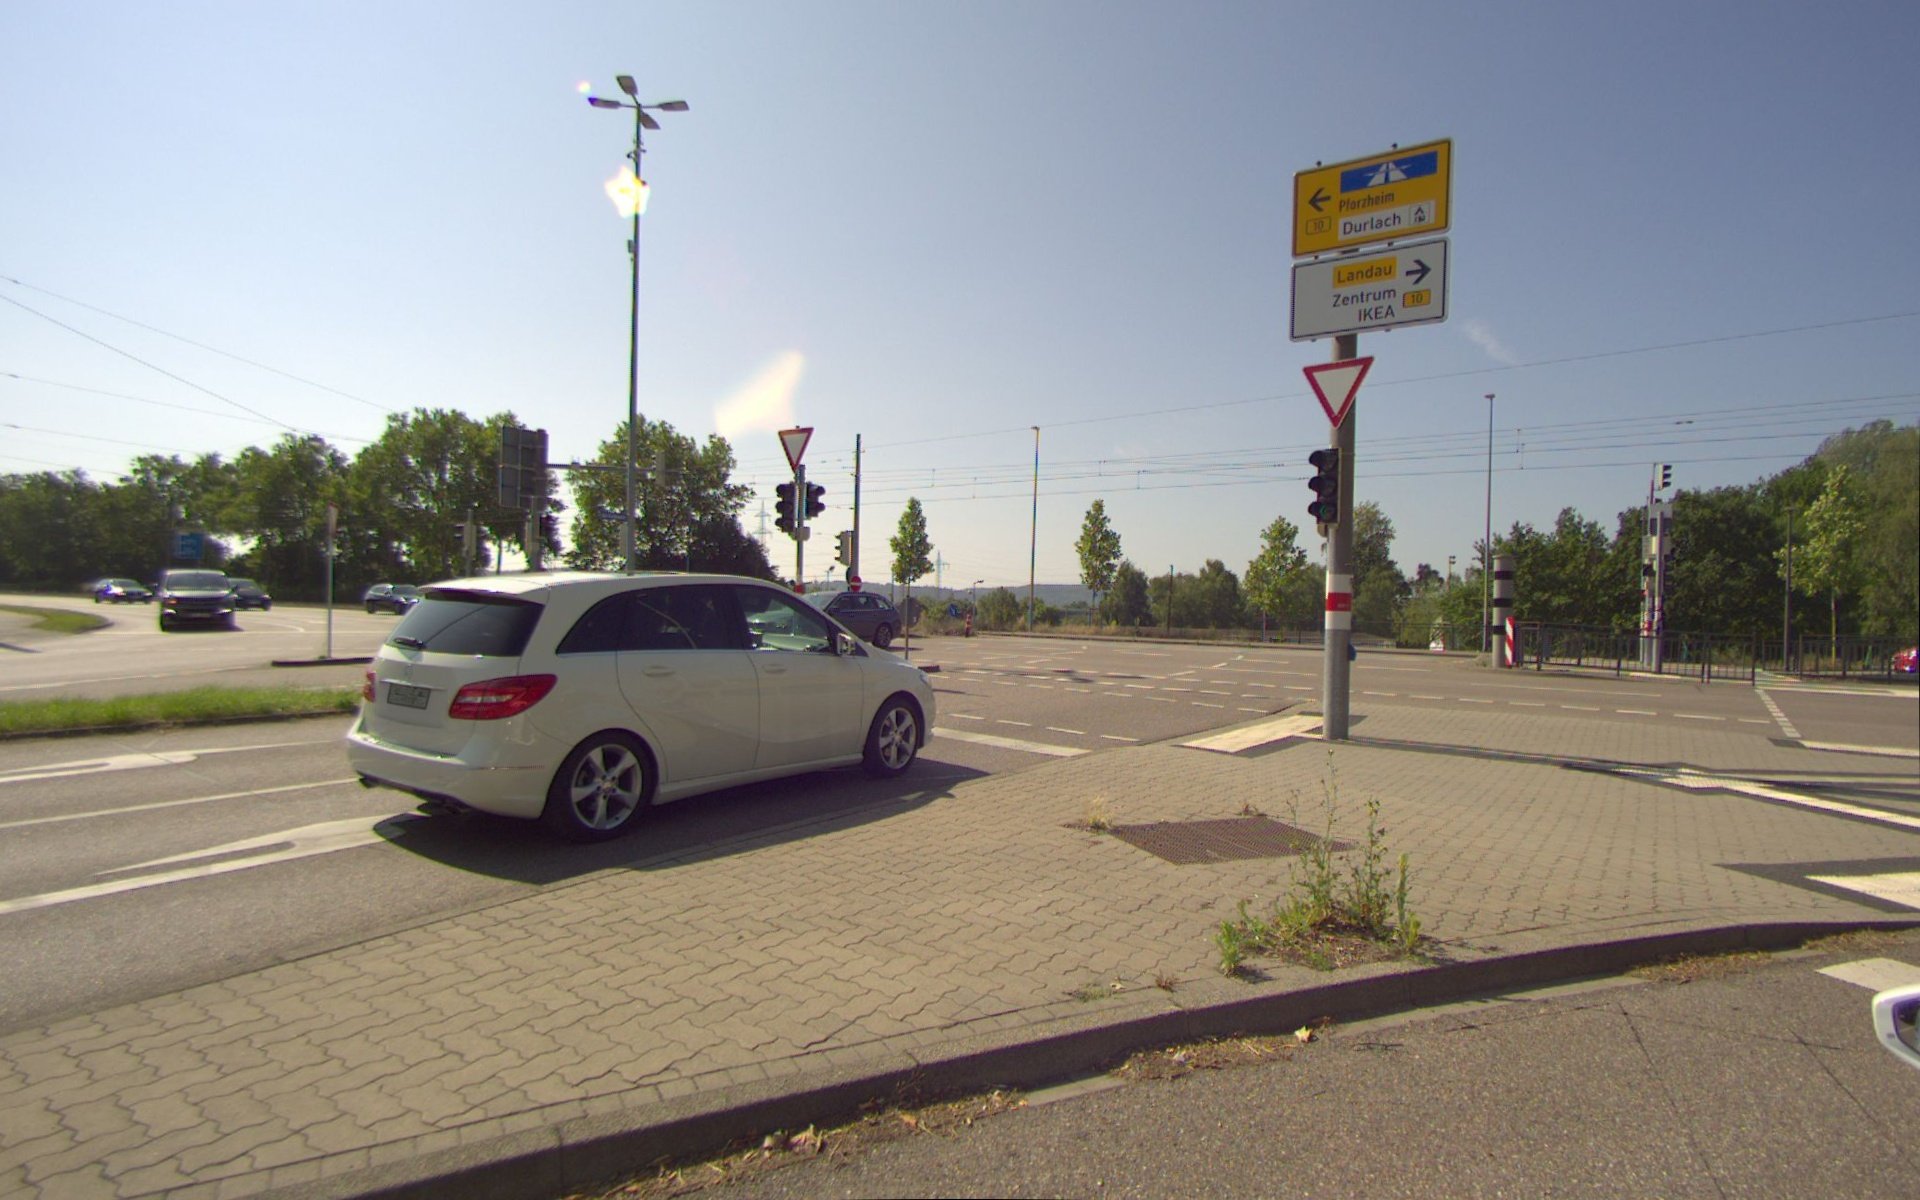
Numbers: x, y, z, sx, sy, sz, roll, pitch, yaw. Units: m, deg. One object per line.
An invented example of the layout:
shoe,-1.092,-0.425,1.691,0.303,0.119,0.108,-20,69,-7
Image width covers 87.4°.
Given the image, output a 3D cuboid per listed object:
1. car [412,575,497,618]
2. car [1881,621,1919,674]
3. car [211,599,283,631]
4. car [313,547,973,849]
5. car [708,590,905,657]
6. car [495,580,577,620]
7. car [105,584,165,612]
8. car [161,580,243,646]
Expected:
car,-19.298,-0.130,38.332,3.339,1.519,1.406,1,-2,34
car,28.639,1.373,28.128,3.932,1.464,1.742,1,0,34
car,-36.325,0.749,51.178,3.933,1.541,1.757,0,-1,35
car,-1.833,0.491,7.181,1.718,1.467,4.375,1,0,34
car,-3.756,0.551,25.363,2.035,1.523,4.791,1,0,40
car,-17.446,-0.006,41.305,3.296,1.519,1.406,1,-2,32
car,-50.568,-0.146,61.550,3.773,1.593,1.903,1,-2,35
car,-24.691,0.372,32.847,1.797,1.951,3.964,1,1,-32
